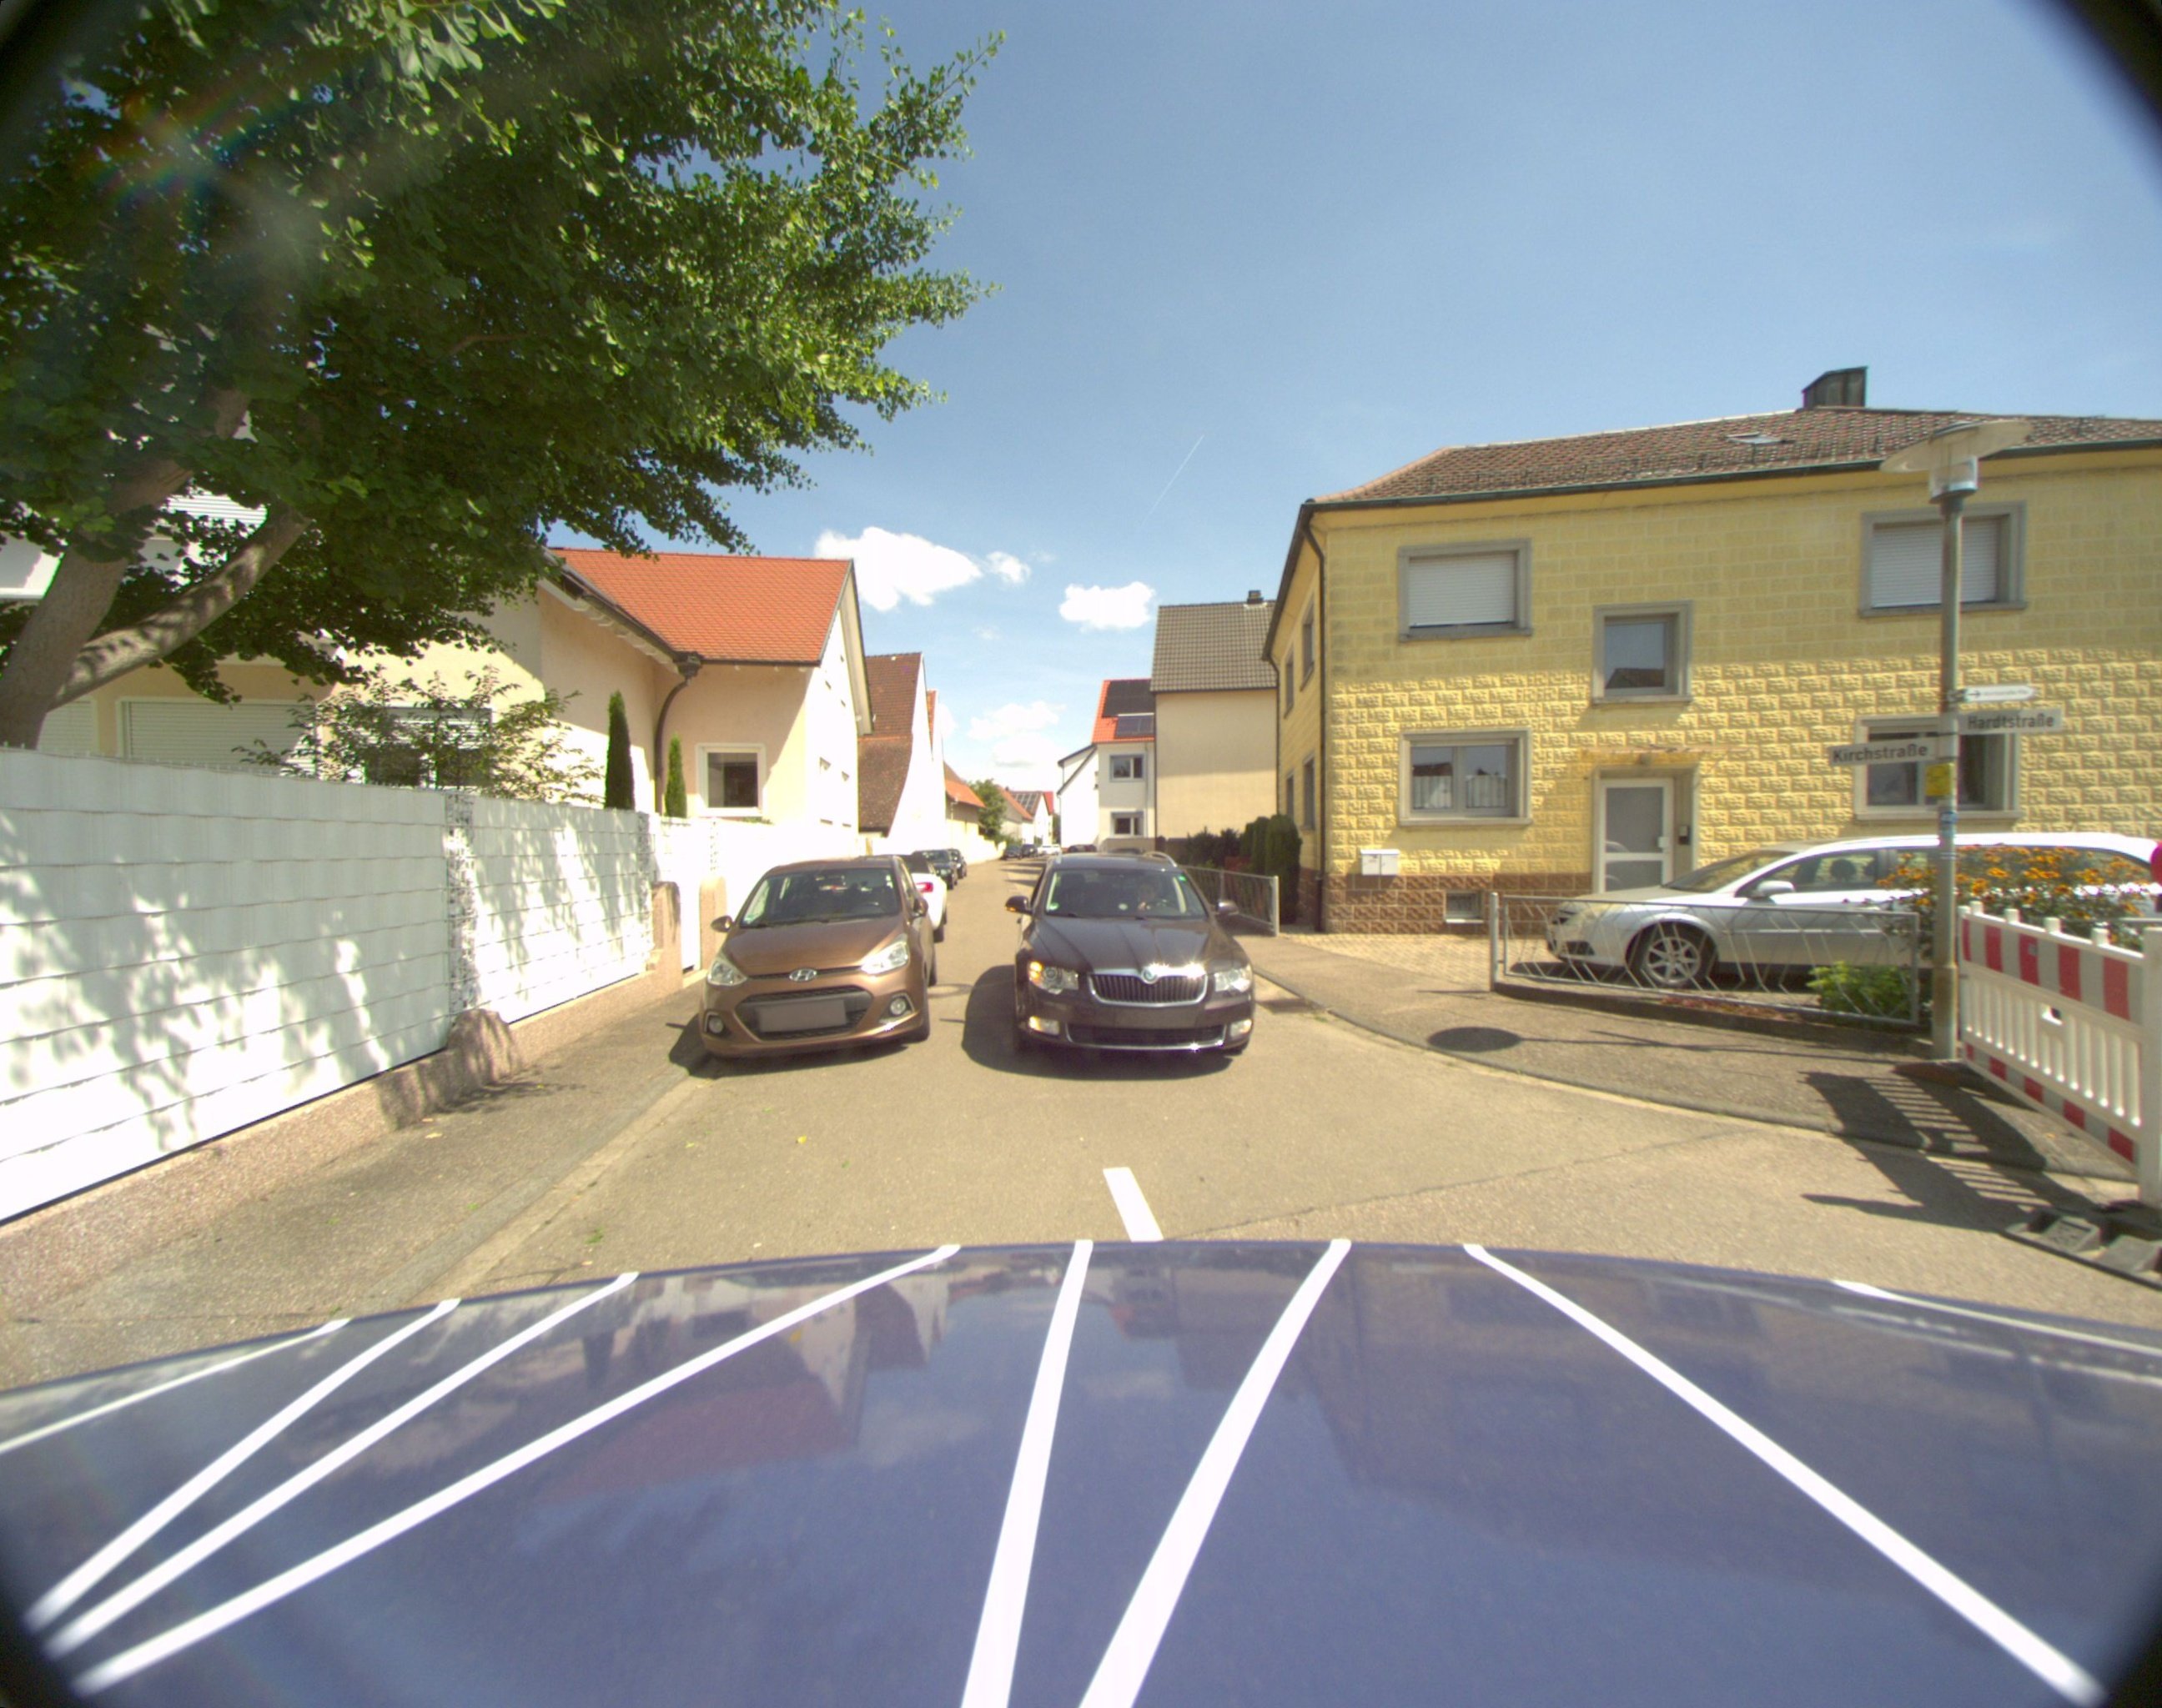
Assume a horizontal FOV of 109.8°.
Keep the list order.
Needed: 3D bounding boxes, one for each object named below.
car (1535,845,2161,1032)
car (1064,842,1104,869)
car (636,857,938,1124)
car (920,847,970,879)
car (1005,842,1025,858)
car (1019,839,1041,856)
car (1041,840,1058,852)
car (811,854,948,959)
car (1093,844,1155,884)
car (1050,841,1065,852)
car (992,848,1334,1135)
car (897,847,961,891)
[{"bbox_3d":[7.280,0.670,7.596,4.462,1.477,1.794,0,2,21],"label":"car"},{"bbox_3d":[0.232,0.061,43.861,1.640,1.447,3.789,-2,1,11],"label":"car"},{"bbox_3d":[-2.306,0.901,7.065,1.718,1.524,4.031,-4,2,-9],"label":"car"},{"bbox_3d":[-6.324,0.371,35.723,1.901,1.357,4.411,-1,1,-5],"label":"car"},{"bbox_3d":[-6.402,-0.373,73.640,1.785,1.471,3.998,0,1,-3],"label":"car"},{"bbox_3d":[-5.513,-0.725,82.834,1.784,1.600,4.000,-3,2,4],"label":"car"},{"bbox_3d":[-4.317,-1.095,103.056,1.784,1.492,4.039,-3,1,4],"label":"car"},{"bbox_3d":[-3.416,0.784,13.731,1.902,1.420,4.732,-1,1,-9],"label":"car"},{"bbox_3d":[1.804,0.362,30.400,1.772,1.342,4.472,-2,2,13],"label":"car"},{"bbox_3d":[-3.620,-1.194,115.633,1.784,1.492,4.039,-3,1,4],"label":"car"},{"bbox_3d":[0.219,0.820,6.602,1.786,1.526,4.707,4,-1,-8],"label":"car"},{"bbox_3d":[-5.426,0.489,27.650,1.901,1.357,4.733,-1,1,-7],"label":"car"}]
